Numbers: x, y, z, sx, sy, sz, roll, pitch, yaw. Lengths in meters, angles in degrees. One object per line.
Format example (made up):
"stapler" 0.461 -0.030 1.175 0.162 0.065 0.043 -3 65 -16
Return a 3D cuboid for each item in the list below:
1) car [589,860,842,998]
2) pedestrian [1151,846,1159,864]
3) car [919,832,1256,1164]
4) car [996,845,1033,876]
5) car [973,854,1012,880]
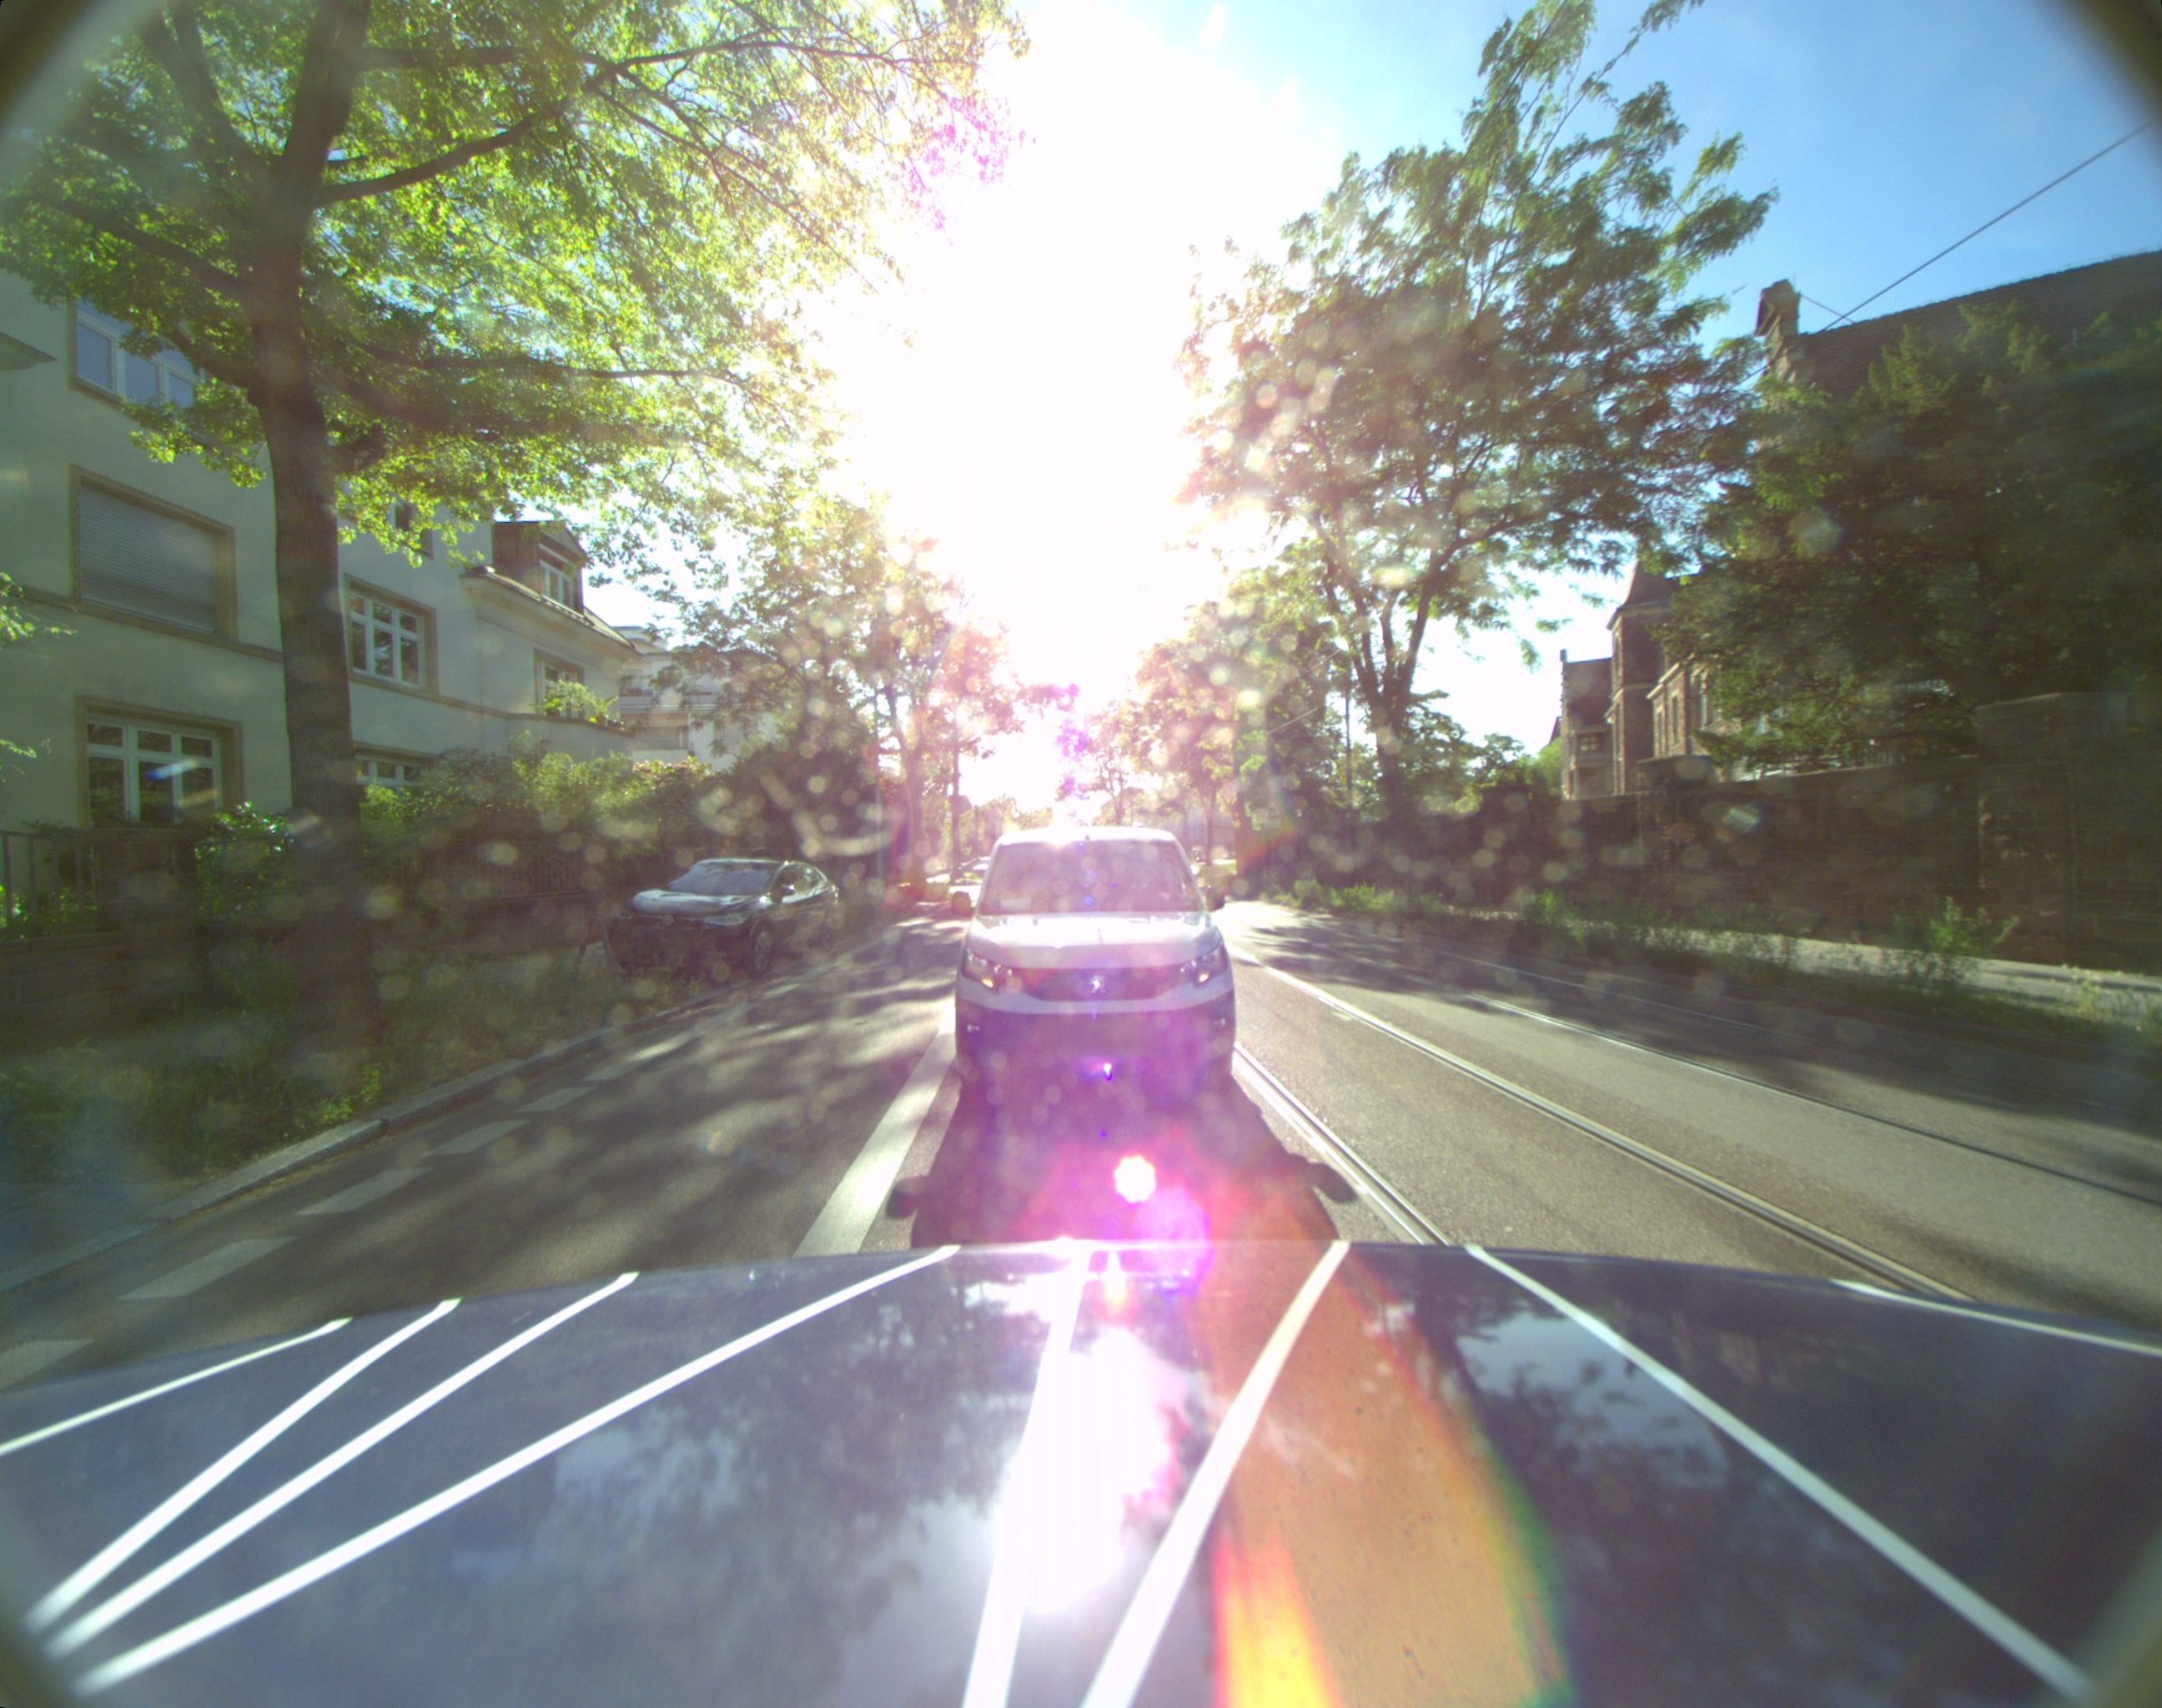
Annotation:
"car" -5.153 0.941 11.421 1.743 1.597 4.091 2 0 1
"pedestrian" 7.590 0.132 77.713 0.634 1.796 0.674 -1 1 23
"car" 0.055 0.780 6.535 1.793 1.770 4.786 -2 0 0
"car" -4.485 0.427 51.929 1.998 2.002 4.583 -2 0 1
"car" -5.238 0.749 45.464 1.787 1.443 4.000 -2 0 1
